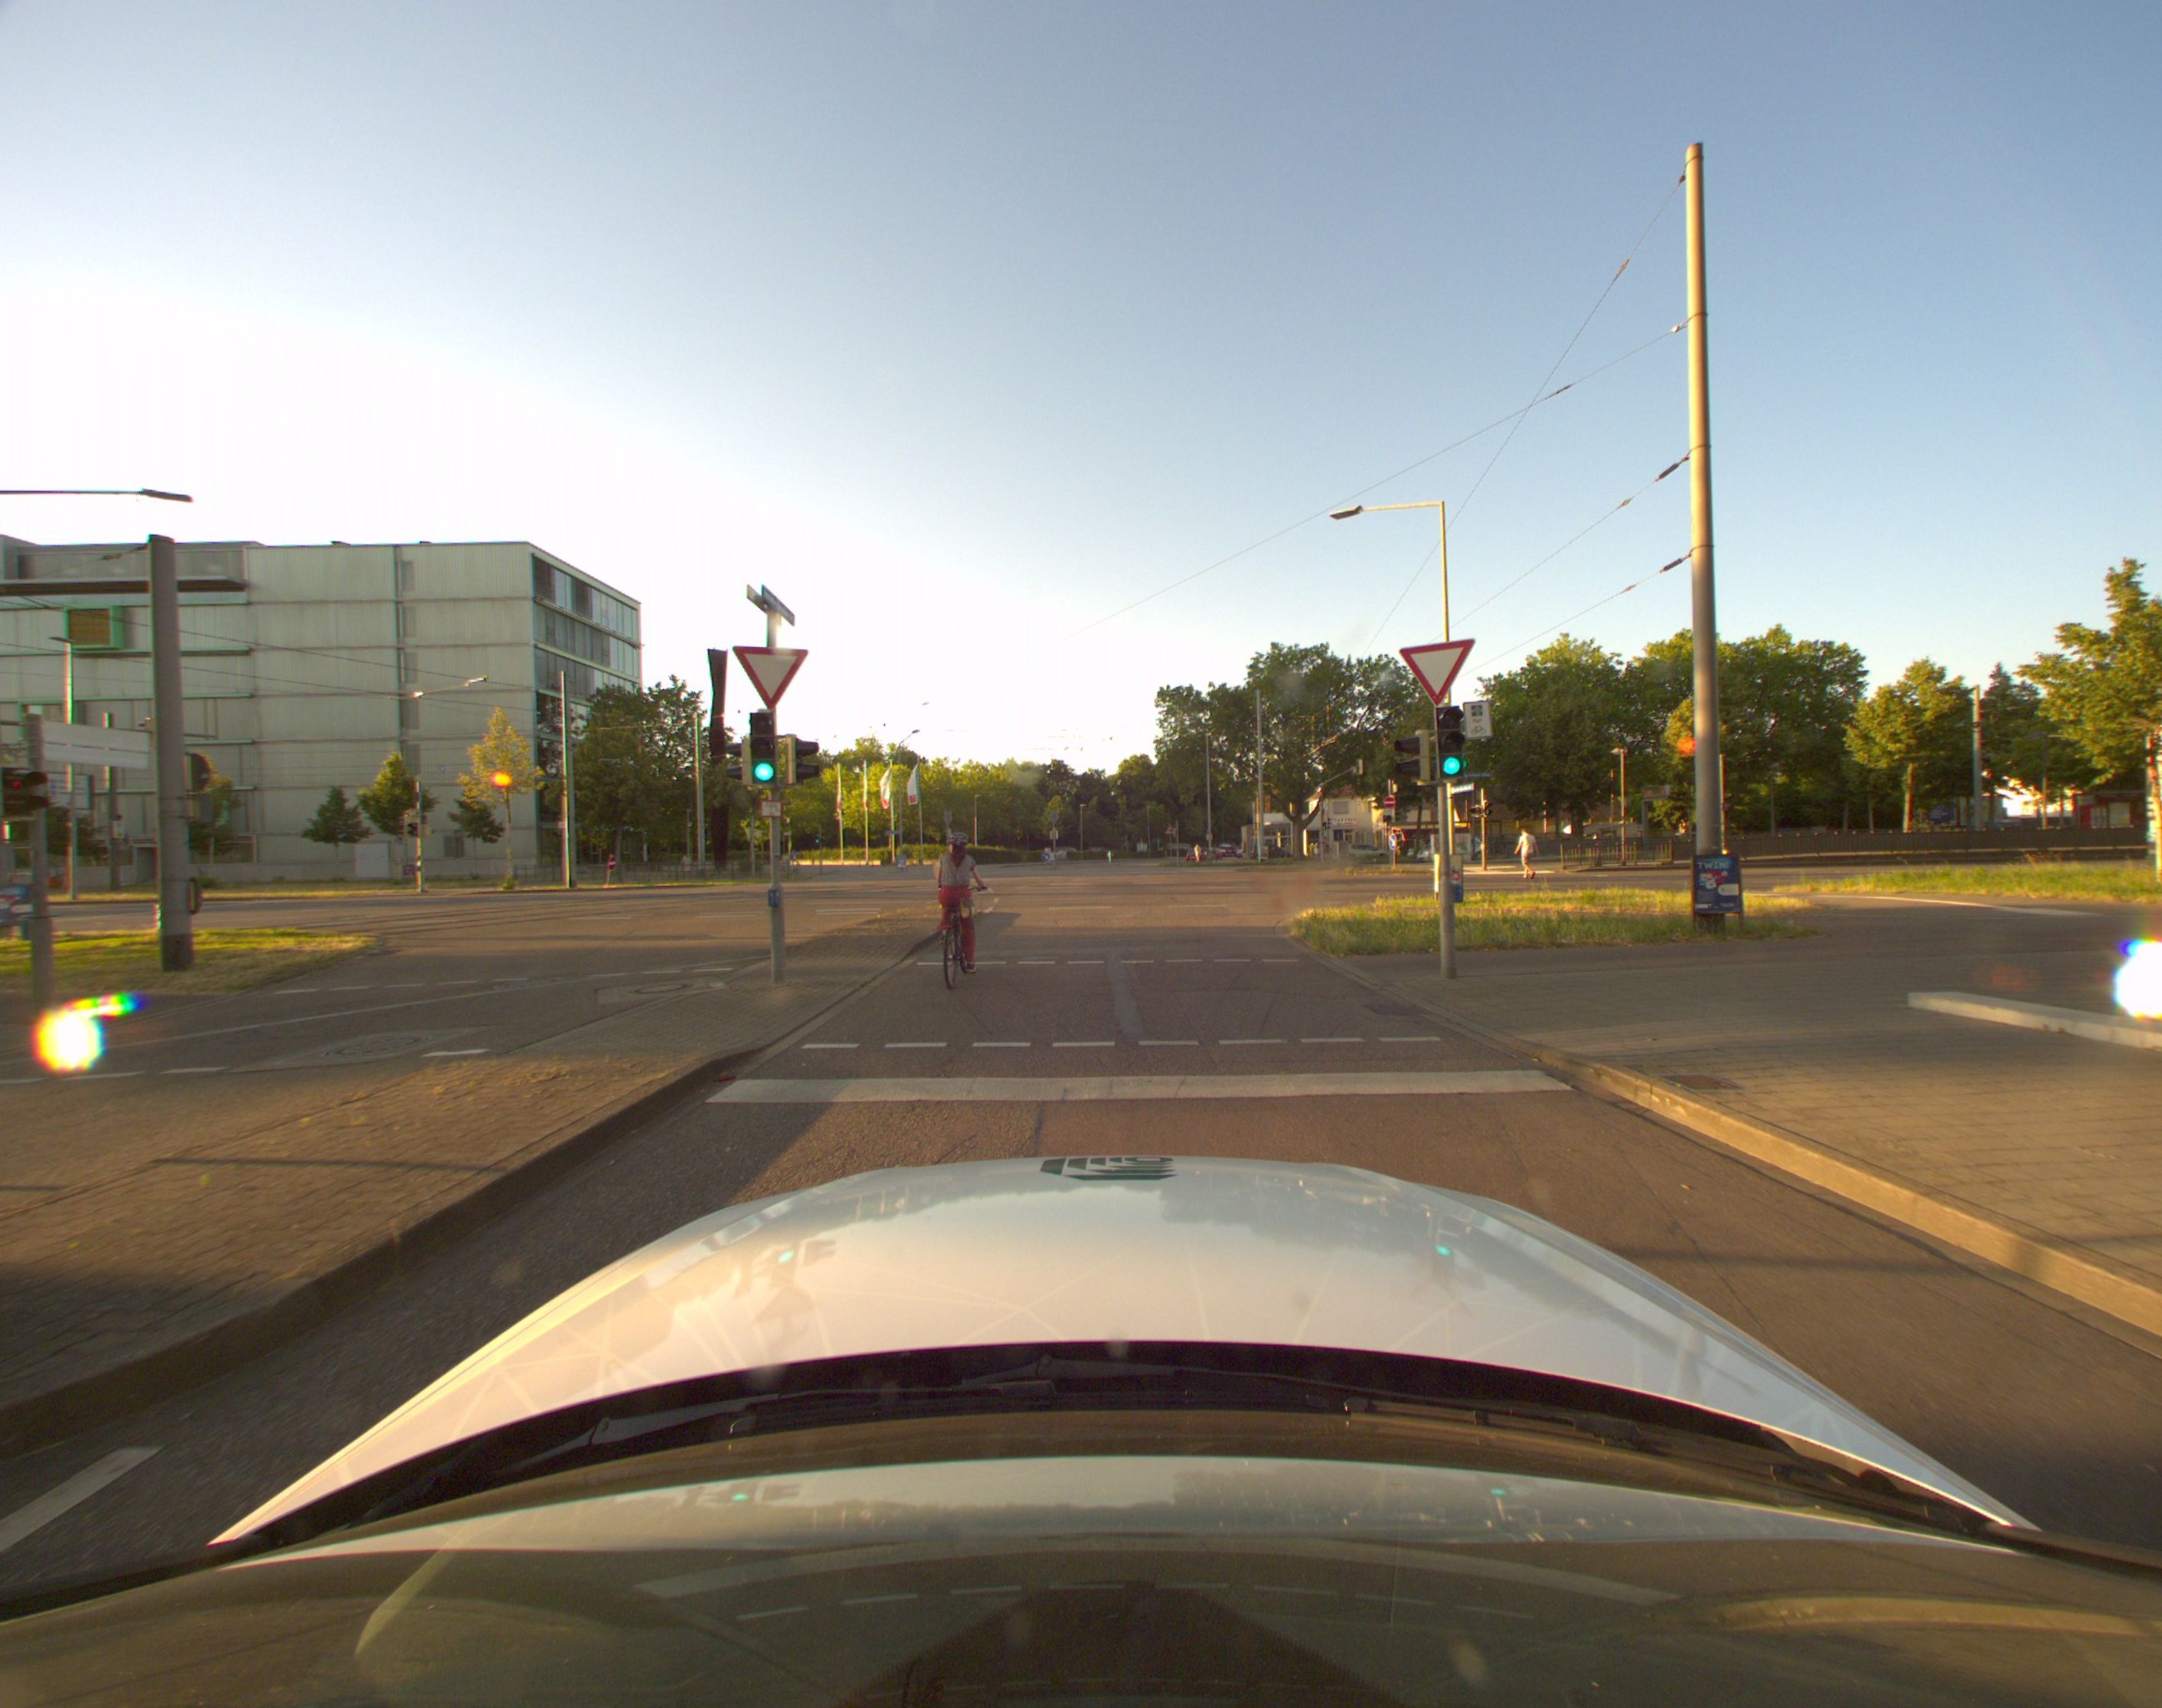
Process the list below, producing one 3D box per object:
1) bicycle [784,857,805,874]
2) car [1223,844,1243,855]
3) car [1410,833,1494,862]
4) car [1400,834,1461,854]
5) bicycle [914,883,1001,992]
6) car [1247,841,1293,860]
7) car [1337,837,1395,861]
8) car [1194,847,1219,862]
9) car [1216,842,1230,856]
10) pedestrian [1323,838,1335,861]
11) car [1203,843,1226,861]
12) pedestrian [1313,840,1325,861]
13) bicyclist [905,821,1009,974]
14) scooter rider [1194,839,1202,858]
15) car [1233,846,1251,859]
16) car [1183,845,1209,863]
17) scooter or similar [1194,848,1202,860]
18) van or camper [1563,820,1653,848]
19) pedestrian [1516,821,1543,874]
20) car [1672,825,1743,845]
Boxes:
[{"bbox_3d":[-20.828,0.824,59.237,0.697,1.136,2.392,-1,1,-1],"label":"bicycle"},{"bbox_3d":[22.396,-0.708,119.897,1.739,1.541,4.425,-2,-1,24],"label":"car"},{"bbox_3d":[23.535,-0.402,51.771,4.523,1.728,1.860,-1,0,-3],"label":"car"},{"bbox_3d":[28.567,-0.808,66.652,4.211,1.577,2.002,-1,0,4],"label":"car"},{"bbox_3d":[-1.432,0.939,9.825,0.632,1.068,2.123,-1,0,2],"label":"bicycle"},{"bbox_3d":[19.478,-0.360,83.994,4.354,1.835,1.953,-1,0,6],"label":"car"},{"bbox_3d":[23.543,-0.432,67.392,4.211,1.846,2.002,-1,0,4],"label":"car"},{"bbox_3d":[14.578,0.051,94.654,1.976,1.574,4.021,-1,1,21],"label":"car"},{"bbox_3d":[21.986,-0.786,126.183,1.982,2.013,4.010,-1,0,9],"label":"car"},{"bbox_3d":[19.112,-0.373,62.760,0.712,1.754,0.903,-1,0,26],"label":"pedestrian"},{"bbox_3d":[16.156,-0.255,98.437,1.899,2.047,4.020,-1,1,20],"label":"car"},{"bbox_3d":[18.756,-0.282,64.176,0.712,1.639,0.903,-1,0,26],"label":"pedestrian"},{"bbox_3d":[-1.451,0.491,9.753,1.028,1.717,0.996,-1,0,1],"label":"bicyclist"},{"bbox_3d":[11.004,-0.513,76.624,0.699,1.855,0.669,-1,-1,1],"label":"scooter rider"},{"bbox_3d":[21.835,-0.202,110.345,1.899,1.602,4.020,-1,1,20],"label":"car"},{"bbox_3d":[12.851,-0.025,90.886,1.852,1.874,3.896,-1,1,23],"label":"car"},{"bbox_3d":[11.002,-0.015,76.592,0.508,1.090,1.243,-1,0,2],"label":"scooter or similar"},{"bbox_3d":[47.845,-1.797,74.085,6.530,2.410,2.268,-1,0,6],"label":"van or camper"},{"bbox_3d":[15.306,-0.218,27.784,0.754,1.791,0.807,0,0,32],"label":"pedestrian"},{"bbox_3d":[50.957,-1.519,66.312,4.211,1.464,2.002,-1,0,4],"label":"car"}]
